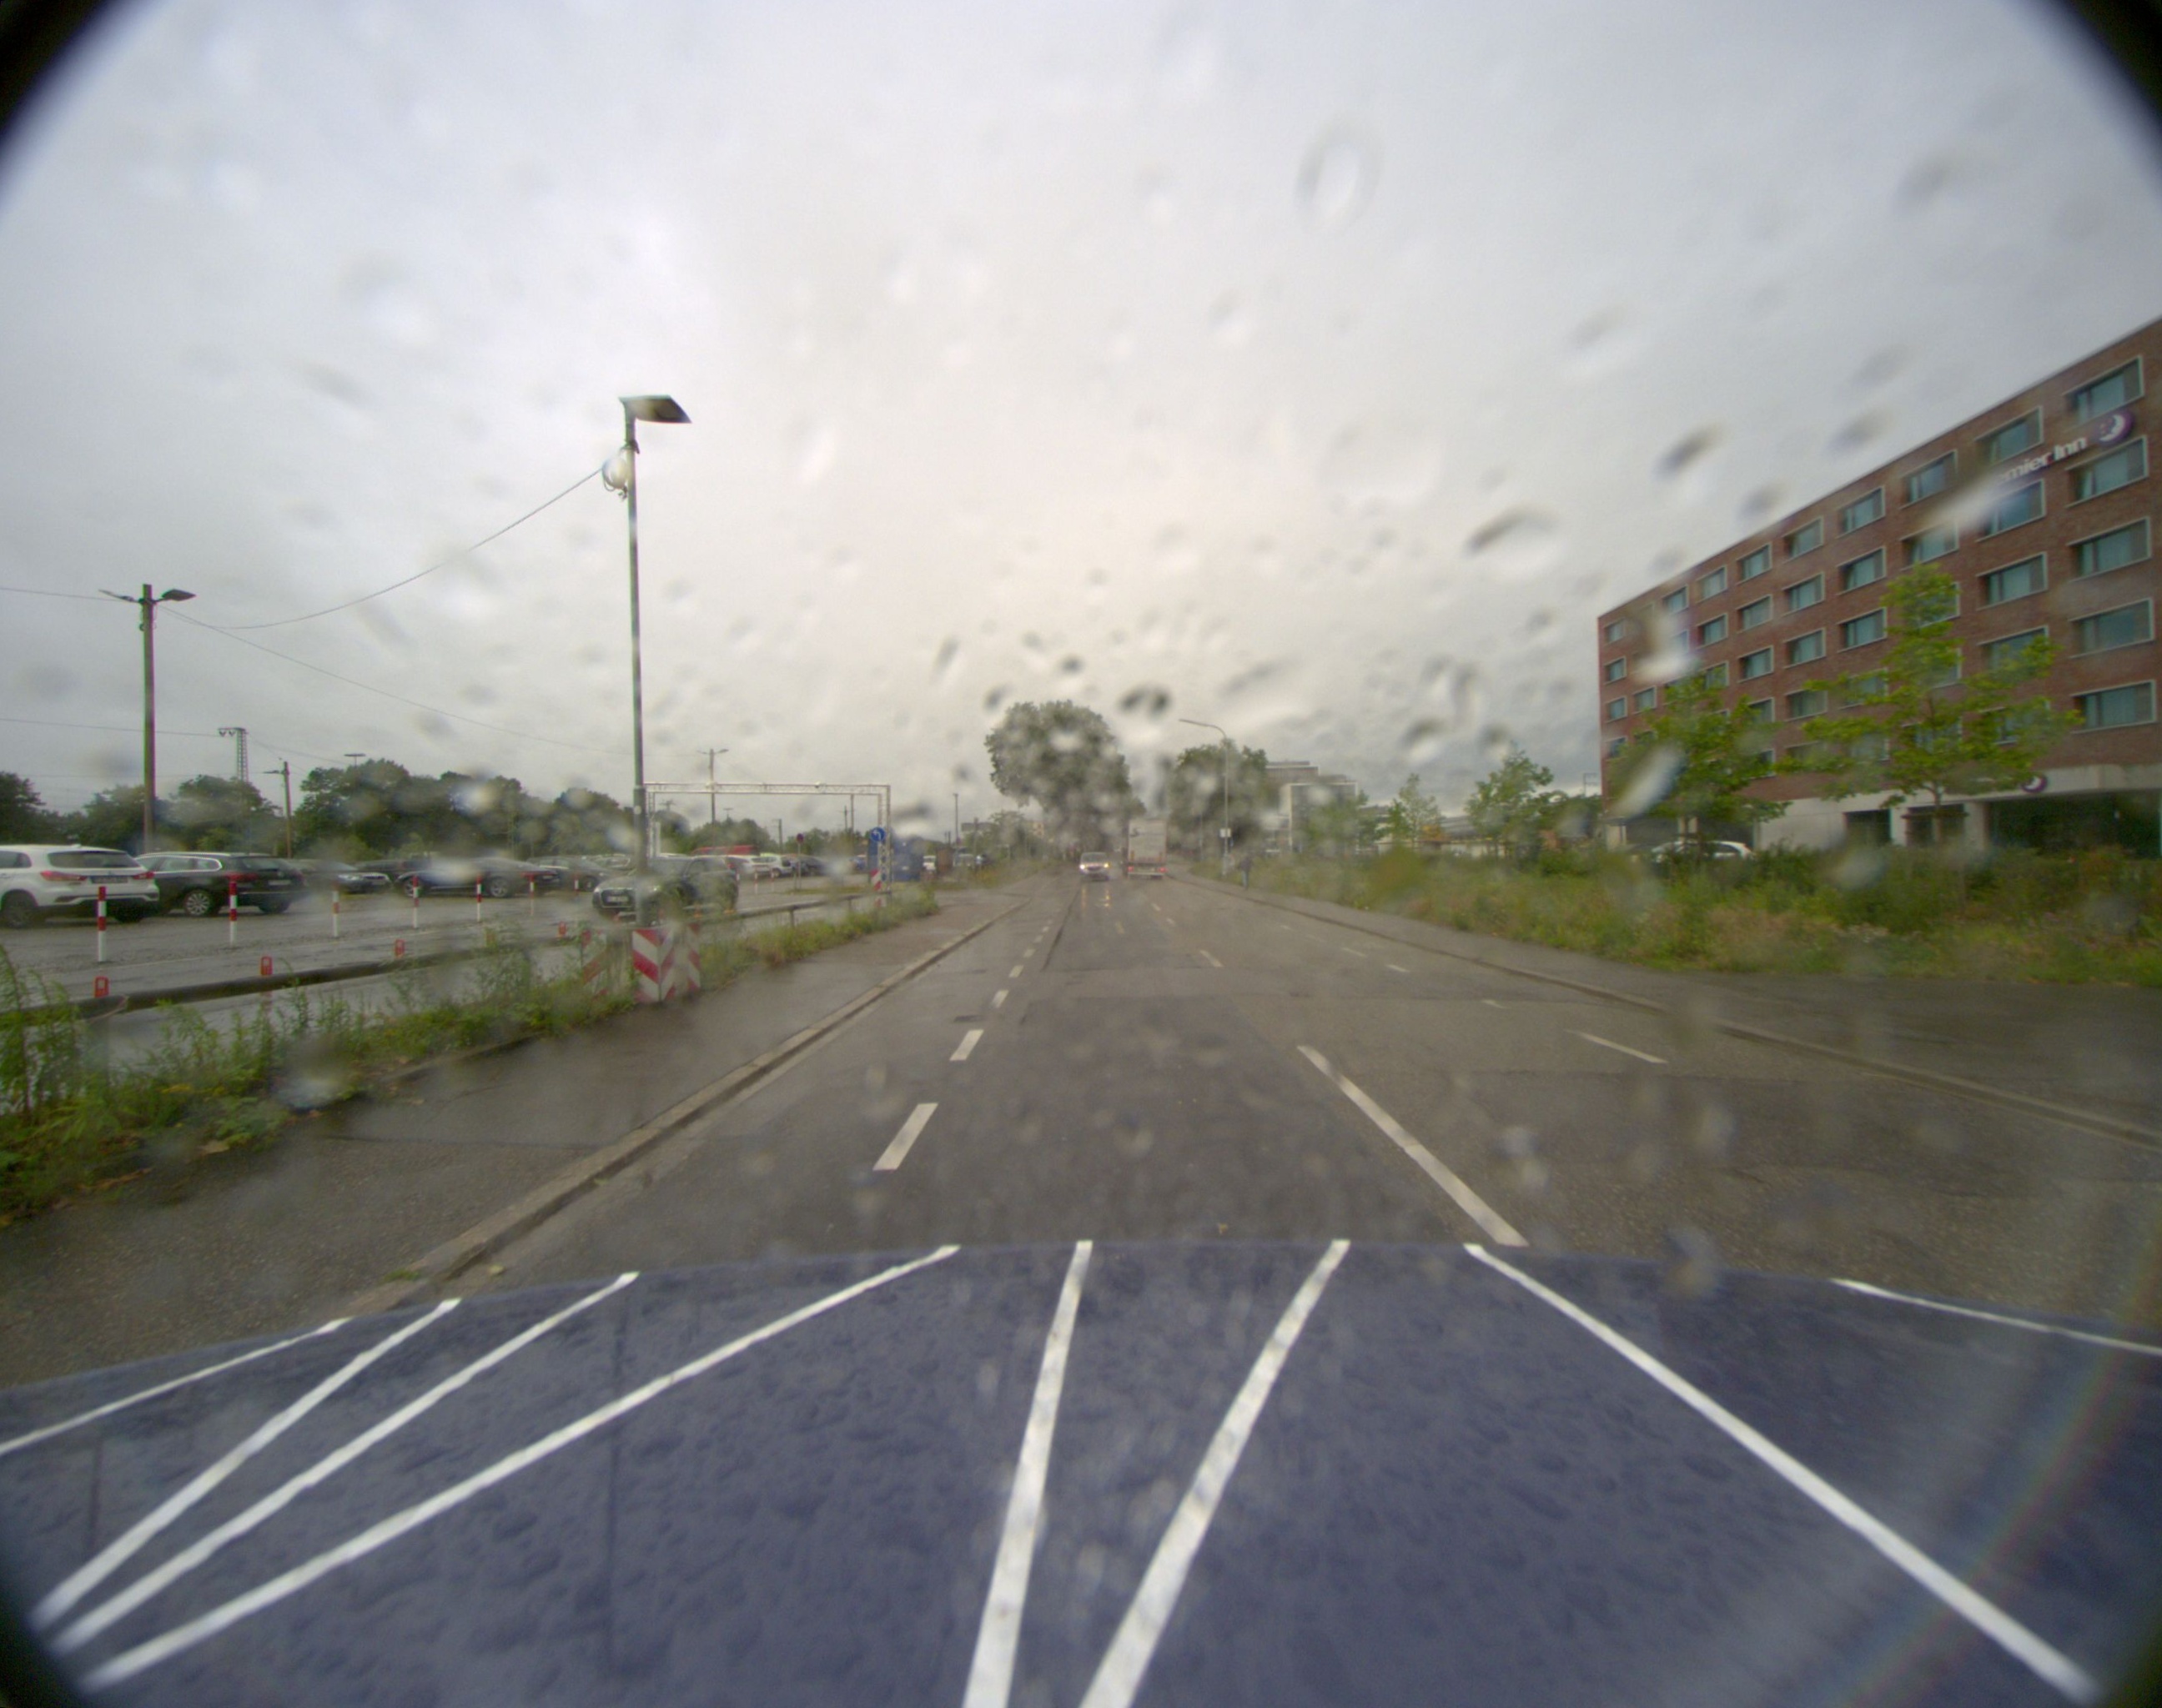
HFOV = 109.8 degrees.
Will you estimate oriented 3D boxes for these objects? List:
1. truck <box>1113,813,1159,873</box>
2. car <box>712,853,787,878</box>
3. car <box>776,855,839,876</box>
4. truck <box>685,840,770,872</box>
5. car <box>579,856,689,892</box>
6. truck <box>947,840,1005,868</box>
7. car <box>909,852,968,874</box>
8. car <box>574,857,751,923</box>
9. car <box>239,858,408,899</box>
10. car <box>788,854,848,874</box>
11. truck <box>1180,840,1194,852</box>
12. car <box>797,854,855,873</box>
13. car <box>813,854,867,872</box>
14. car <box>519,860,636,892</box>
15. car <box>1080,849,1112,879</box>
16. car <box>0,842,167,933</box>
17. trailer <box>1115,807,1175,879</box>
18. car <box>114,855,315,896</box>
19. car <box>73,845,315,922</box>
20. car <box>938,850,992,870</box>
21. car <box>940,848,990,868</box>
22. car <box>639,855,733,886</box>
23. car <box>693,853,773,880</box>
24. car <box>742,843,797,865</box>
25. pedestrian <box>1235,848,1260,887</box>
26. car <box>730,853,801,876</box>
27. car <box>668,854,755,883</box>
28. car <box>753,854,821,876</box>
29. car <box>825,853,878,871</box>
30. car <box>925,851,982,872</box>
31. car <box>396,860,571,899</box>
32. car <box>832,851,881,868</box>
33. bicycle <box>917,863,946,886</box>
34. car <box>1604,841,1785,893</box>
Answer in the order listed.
[{"bbox_3d":[4.438,-0.843,62.320,3.302,4.627,6.033,0,0,0],"label":"truck"},{"bbox_3d":[-21.045,0.717,48.286,3.961,1.481,1.778,1,1,3],"label":"car"},{"bbox_3d":[-20.268,0.840,56.376,3.961,1.419,1.887,1,1,3],"label":"car"},{"bbox_3d":[-26.206,0.136,56.502,5.301,2.354,2.153,0,0,1],"label":"truck"},{"bbox_3d":[-20.349,0.898,34.708,3.961,1.481,1.870,1,1,3],"label":"car"},{"bbox_3d":[-9.742,0.001,70.713,5.046,2.389,2.110,-1,1,-1],"label":"truck"},{"bbox_3d":[-9.991,0.638,53.436,3.781,1.385,1.905,-2,1,-1],"label":"car"},{"bbox_3d":[-10.320,0.813,19.172,1.899,1.448,4.228,1,0,4],"label":"car"},{"bbox_3d":[-26.154,0.820,26.333,3.997,1.324,1.755,-1,1,-1],"label":"car"},{"bbox_3d":[-20.303,0.756,58.820,3.961,1.419,1.887,1,1,3],"label":"car"},{"bbox_3d":[23.099,-1.719,166.311,2.090,2.604,6.977,0,0,0],"label":"truck"},{"bbox_3d":[-20.613,0.734,61.512,3.961,1.419,1.887,1,1,3],"label":"car"},{"bbox_3d":[-20.389,0.734,64.252,3.961,1.419,1.821,1,1,3],"label":"car"},{"bbox_3d":[-20.908,0.893,31.623,3.895,1.214,1.648,1,1,6],"label":"car"},{"bbox_3d":[0.917,0.585,46.770,1.838,1.714,4.172,0,0,1],"label":"car"},{"bbox_3d":[-21.194,0.610,15.177,3.911,1.575,1.787,2,2,4],"label":"car"},{"bbox_3d":[4.400,-0.715,55.469,3.302,4.626,13.732,0,0,0],"label":"trailer"},{"bbox_3d":[-26.756,0.644,23.571,4.071,1.065,1.831,1,1,-1],"label":"car"},{"bbox_3d":[-20.706,0.650,17.850,3.783,1.575,1.787,2,2,4],"label":"car"},{"bbox_3d":[-8.922,0.467,58.564,3.905,1.415,1.779,-2,1,-1],"label":"car"},{"bbox_3d":[-9.783,0.341,64.098,3.905,1.585,1.896,-2,1,-1],"label":"car"},{"bbox_3d":[-20.463,0.859,39.415,3.961,1.481,1.778,1,1,3],"label":"car"},{"bbox_3d":[-20.561,0.741,44.986,3.961,1.481,1.778,1,1,3],"label":"car"},{"bbox_3d":[-26.701,-0.010,65.179,3.995,1.789,1.797,-1,1,5],"label":"car"},{"bbox_3d":[7.443,0.578,34.026,0.911,1.708,1.026,-1,1,1],"label":"pedestrian"},{"bbox_3d":[-21.127,0.670,50.934,3.961,1.419,1.887,1,1,3],"label":"car"},{"bbox_3d":[-20.479,0.791,42.186,3.961,1.481,1.778,1,1,3],"label":"car"},{"bbox_3d":[-20.551,0.781,53.181,3.961,1.419,1.887,1,1,3],"label":"car"},{"bbox_3d":[-20.278,0.672,67.162,4.074,1.482,1.926,1,1,3],"label":"car"},{"bbox_3d":[-9.350,0.550,55.957,3.905,1.415,1.905,-2,1,-1],"label":"car"},{"bbox_3d":[-20.873,0.871,26.693,4.599,1.214,1.978,1,1,0],"label":"car"},{"bbox_3d":[-20.656,0.535,69.997,3.961,1.471,1.707,1,1,3],"label":"car"},{"bbox_3d":[-7.159,0.960,36.540,0.507,1.078,1.705,0,0,22],"label":"bicycle"},{"bbox_3d":[20.546,0.400,25.602,4.533,1.631,1.999,-1,1,-1],"label":"car"}]
